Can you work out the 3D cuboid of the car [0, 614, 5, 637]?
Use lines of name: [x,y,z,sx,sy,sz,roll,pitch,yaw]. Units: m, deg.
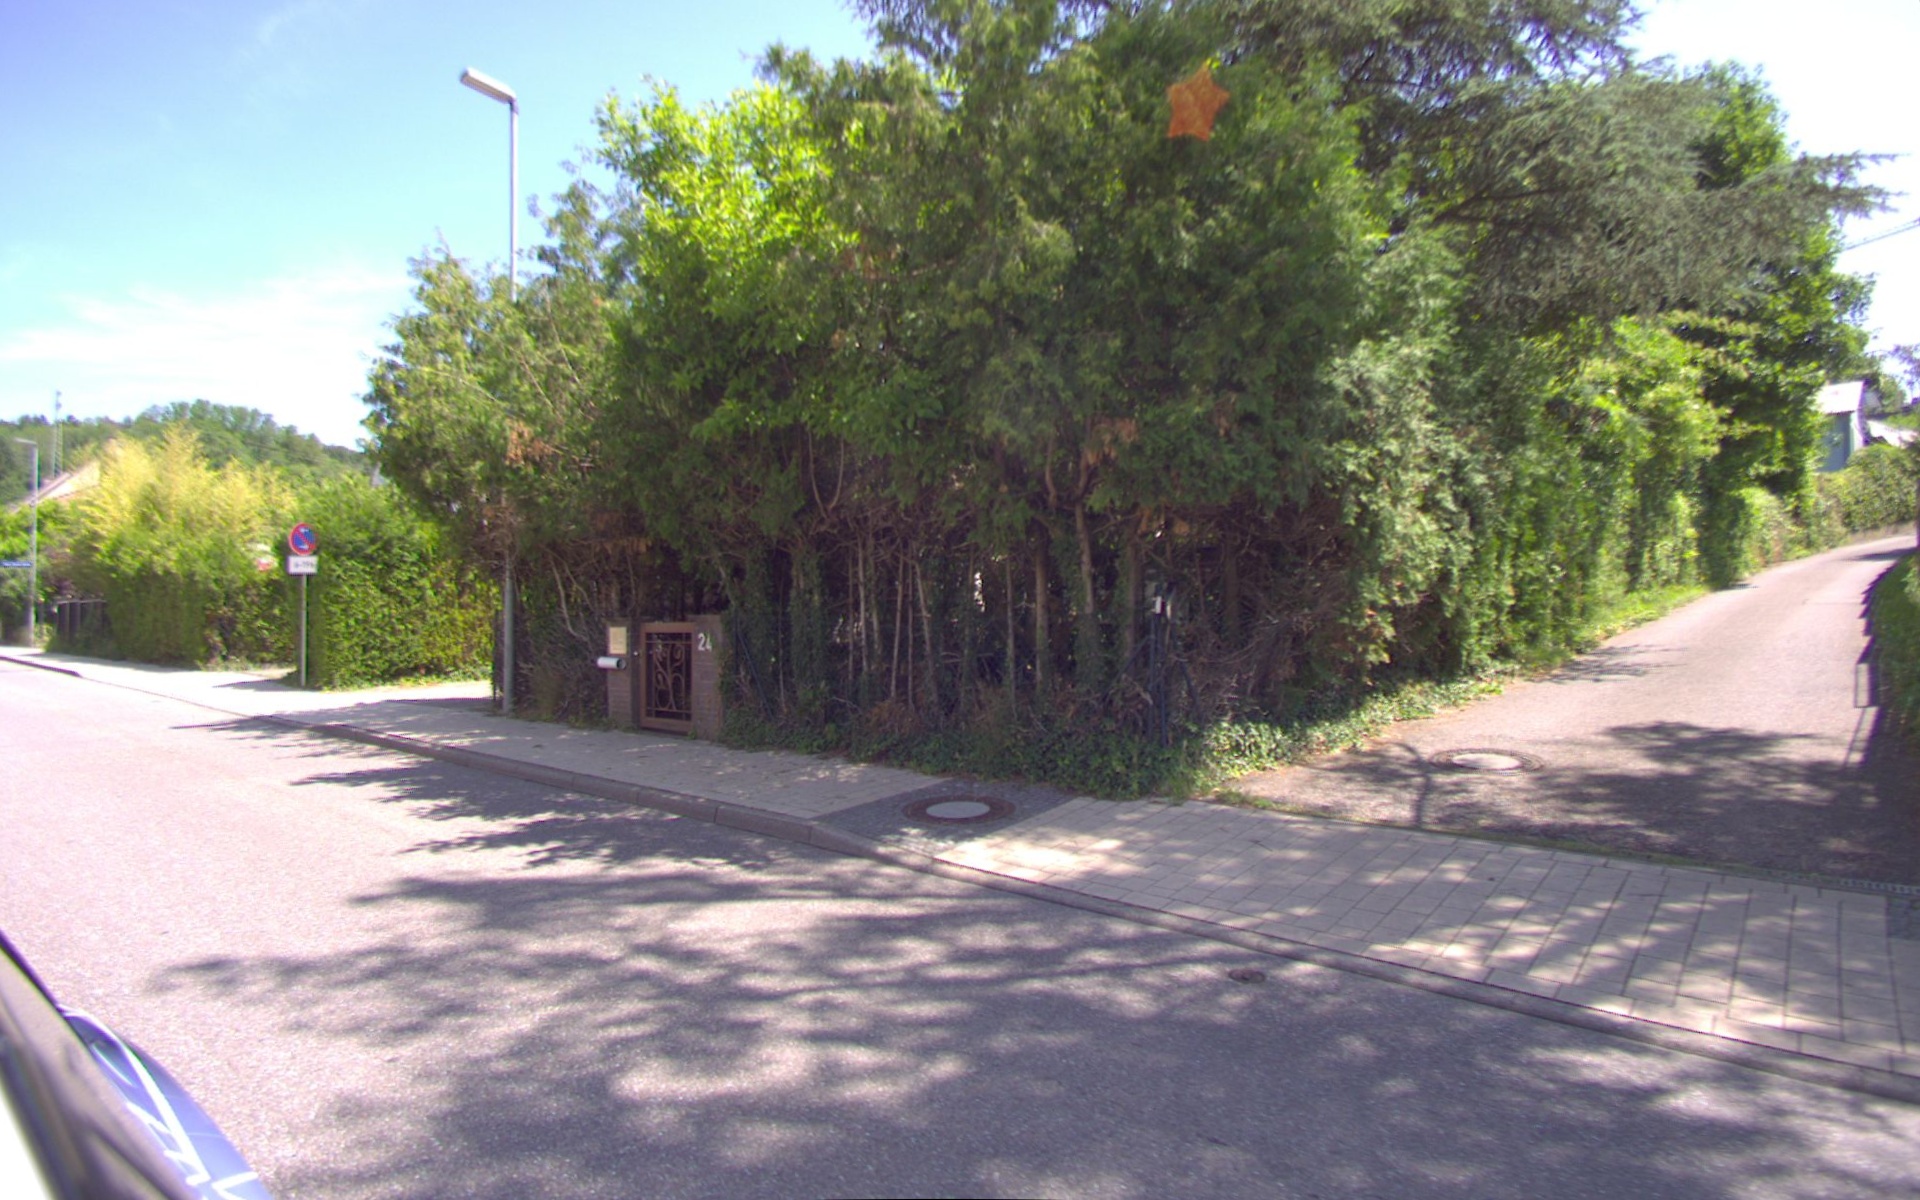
car: [-63.863,1.665,64.593,3.985,1.511,1.708,0,0,-11]
